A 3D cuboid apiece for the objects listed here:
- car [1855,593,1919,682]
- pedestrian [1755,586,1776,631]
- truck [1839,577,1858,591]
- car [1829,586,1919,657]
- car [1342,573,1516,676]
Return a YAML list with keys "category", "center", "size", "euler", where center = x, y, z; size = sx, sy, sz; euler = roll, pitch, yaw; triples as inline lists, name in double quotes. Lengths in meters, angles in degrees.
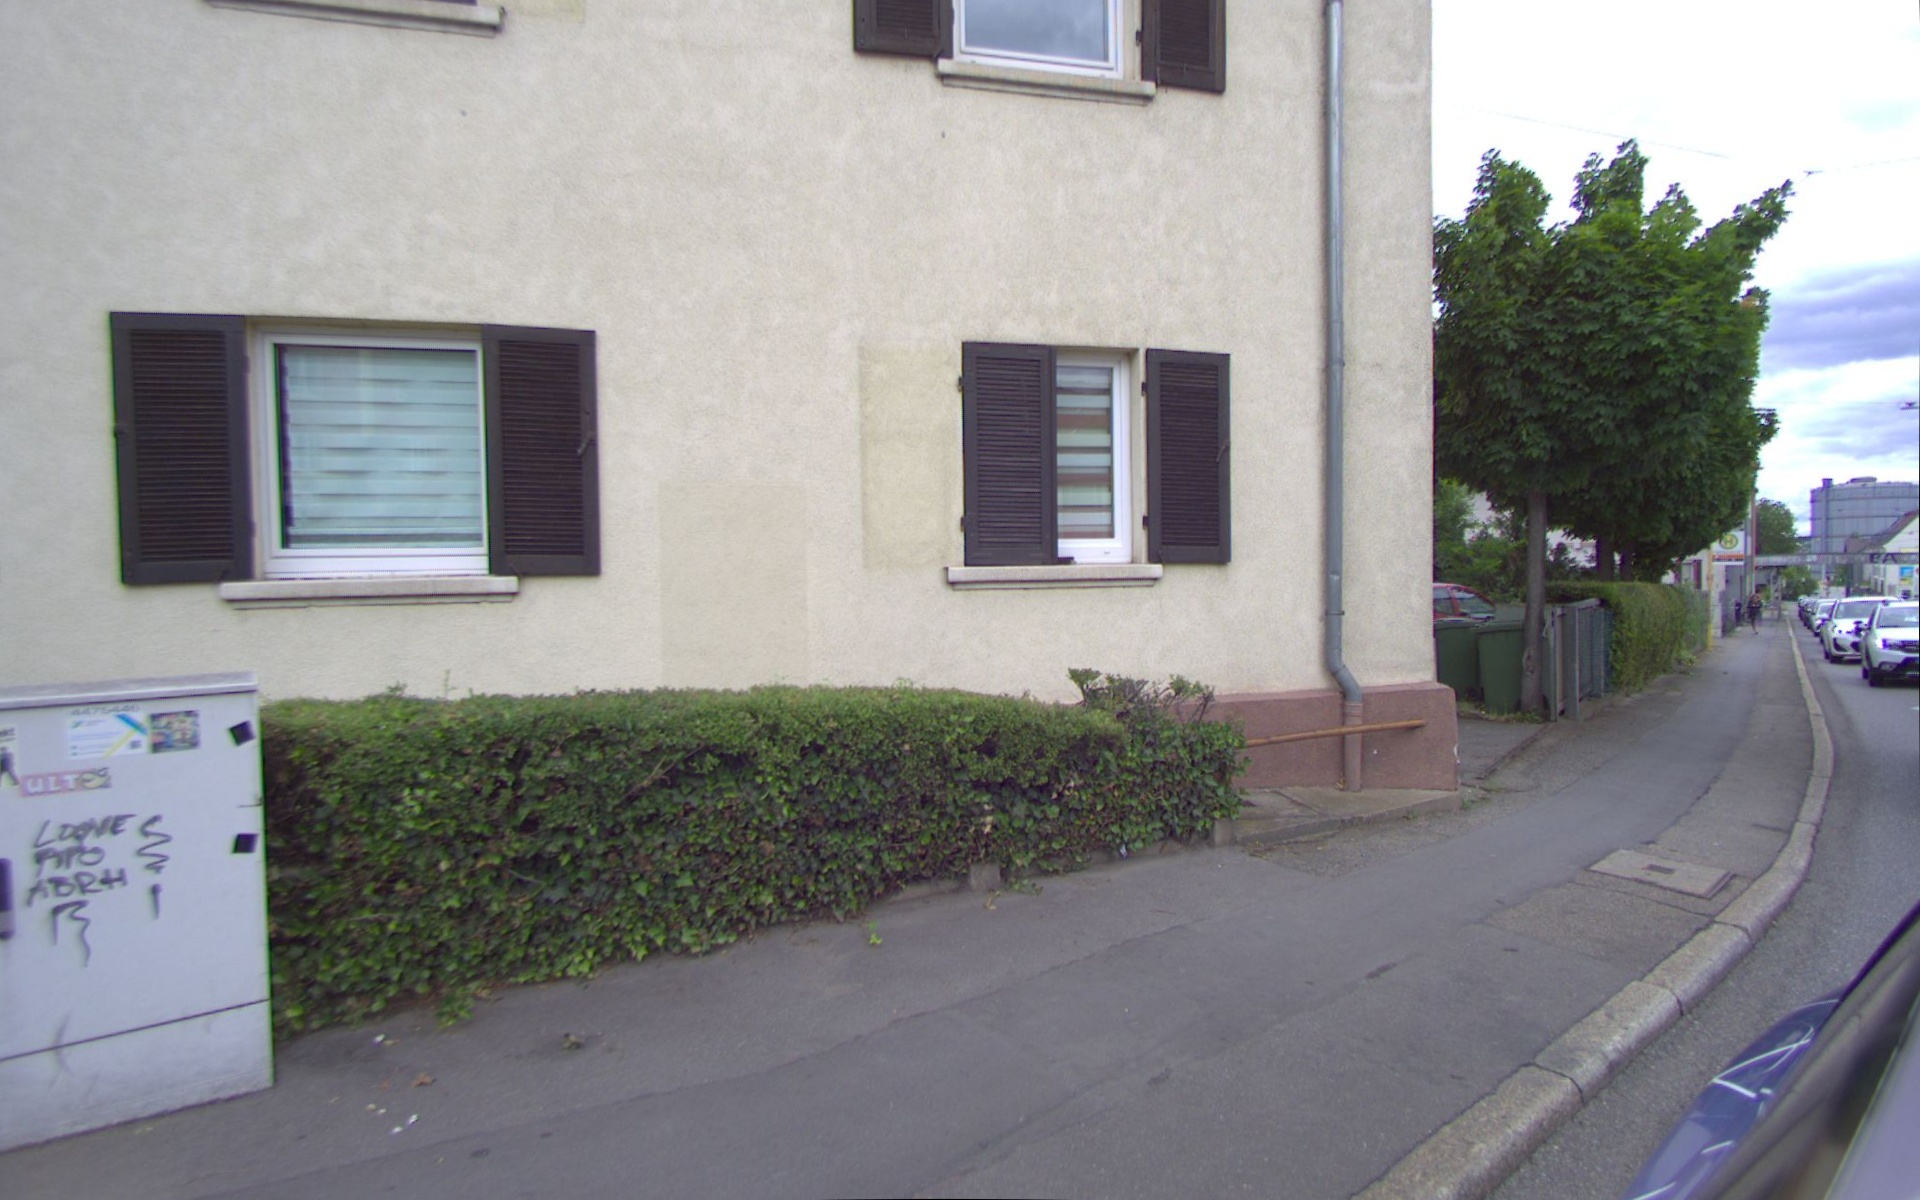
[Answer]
- category: "car"
  center: [18.084, 0.622, 18.730]
  size: [1.889, 1.529, 4.111]
  euler: [-3, -2, 37]
- category: "pedestrian"
  center: [34.026, 0.343, 42.745]
  size: [0.645, 1.864, 0.583]
  euler: [0, 0, 44]
- category: "truck"
  center: [165.075, -3.005, 187.999]
  size: [2.538, 2.568, 5.412]
  euler: [1, 1, 41]
- category: "car"
  center: [23.230, 0.482, 25.389]
  size: [1.890, 1.665, 3.947]
  euler: [0, 0, 37]
- category: "car"
  center: [7.637, 0.332, 16.346]
  size: [1.694, 1.479, 3.389]
  euler: [-1, 0, 40]
